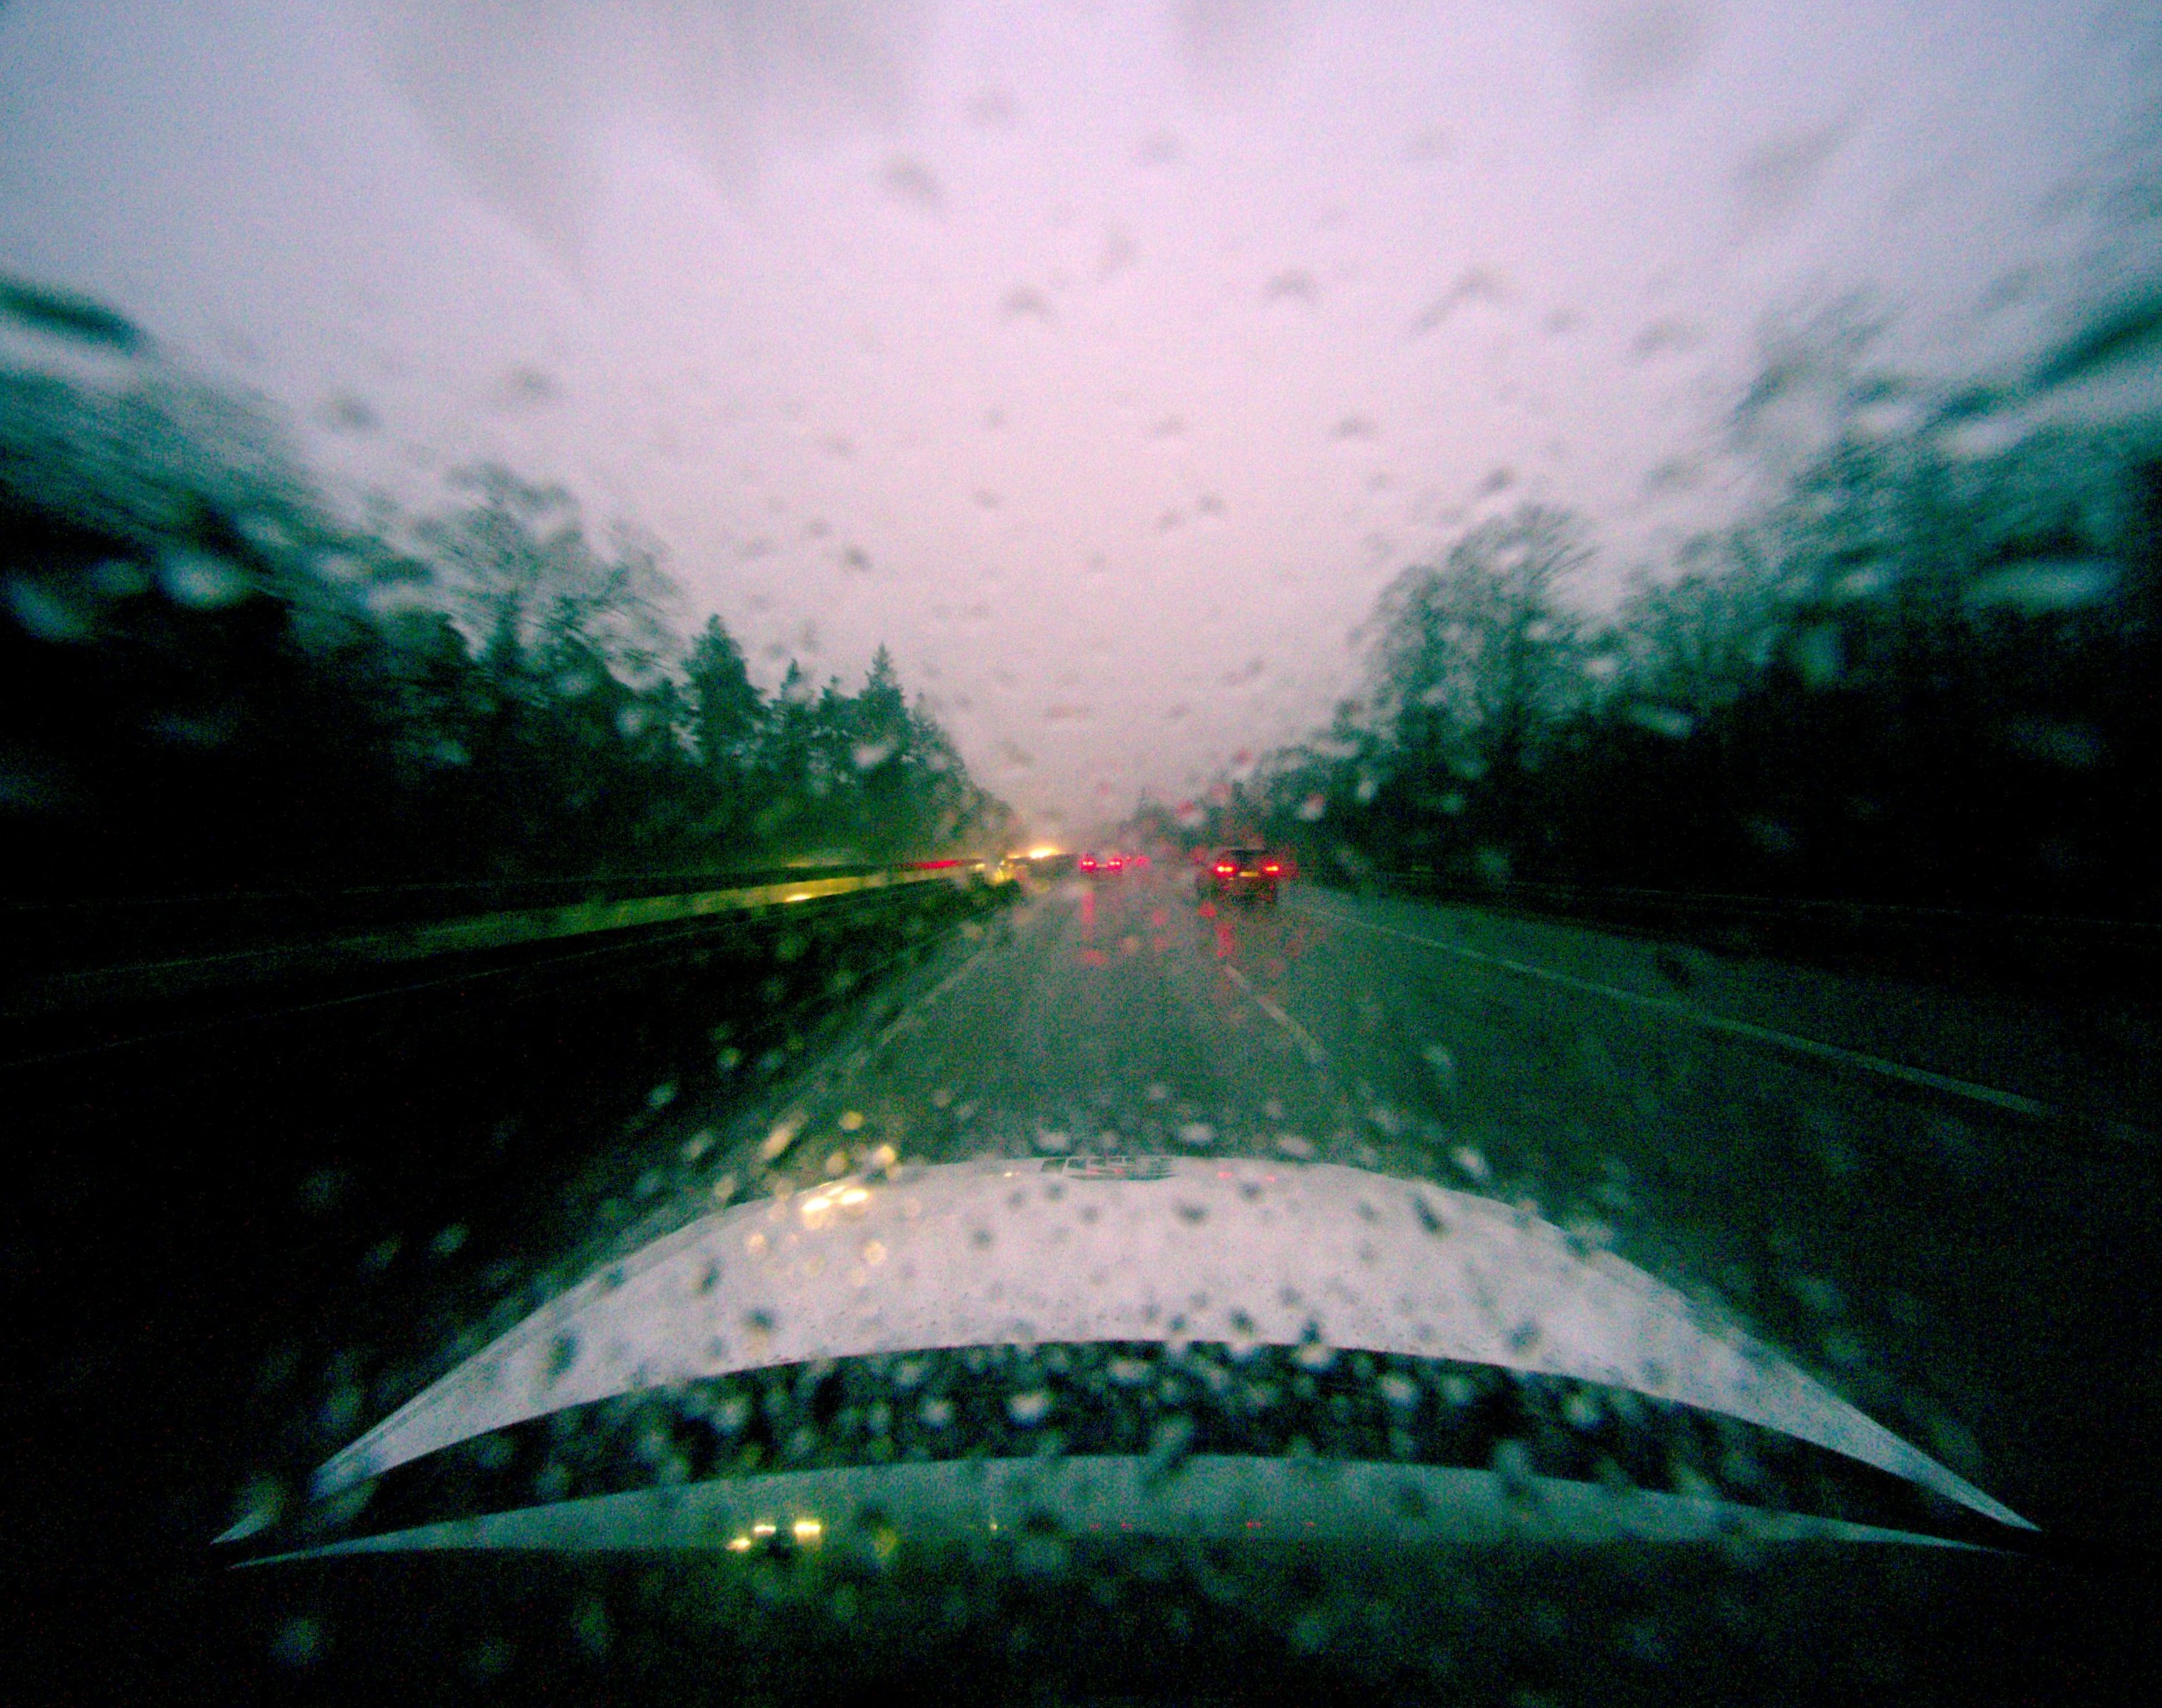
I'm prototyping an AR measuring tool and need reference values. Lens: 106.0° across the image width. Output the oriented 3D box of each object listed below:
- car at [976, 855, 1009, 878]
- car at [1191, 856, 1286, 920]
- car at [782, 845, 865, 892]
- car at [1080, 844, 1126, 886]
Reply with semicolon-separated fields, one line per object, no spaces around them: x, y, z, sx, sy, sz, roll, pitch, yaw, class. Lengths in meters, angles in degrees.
-6.252;0.859;57.942;1.803;1.567;4.000;0;0;1;car
4.594;0.935;24.412;2.063;1.697;4.462;0;0;1;car
-11.256;0.592;35.936;1.986;1.950;4.714;0;0;2;car
1.026;0.494;37.888;1.979;1.767;4.174;-2;0;1;car
